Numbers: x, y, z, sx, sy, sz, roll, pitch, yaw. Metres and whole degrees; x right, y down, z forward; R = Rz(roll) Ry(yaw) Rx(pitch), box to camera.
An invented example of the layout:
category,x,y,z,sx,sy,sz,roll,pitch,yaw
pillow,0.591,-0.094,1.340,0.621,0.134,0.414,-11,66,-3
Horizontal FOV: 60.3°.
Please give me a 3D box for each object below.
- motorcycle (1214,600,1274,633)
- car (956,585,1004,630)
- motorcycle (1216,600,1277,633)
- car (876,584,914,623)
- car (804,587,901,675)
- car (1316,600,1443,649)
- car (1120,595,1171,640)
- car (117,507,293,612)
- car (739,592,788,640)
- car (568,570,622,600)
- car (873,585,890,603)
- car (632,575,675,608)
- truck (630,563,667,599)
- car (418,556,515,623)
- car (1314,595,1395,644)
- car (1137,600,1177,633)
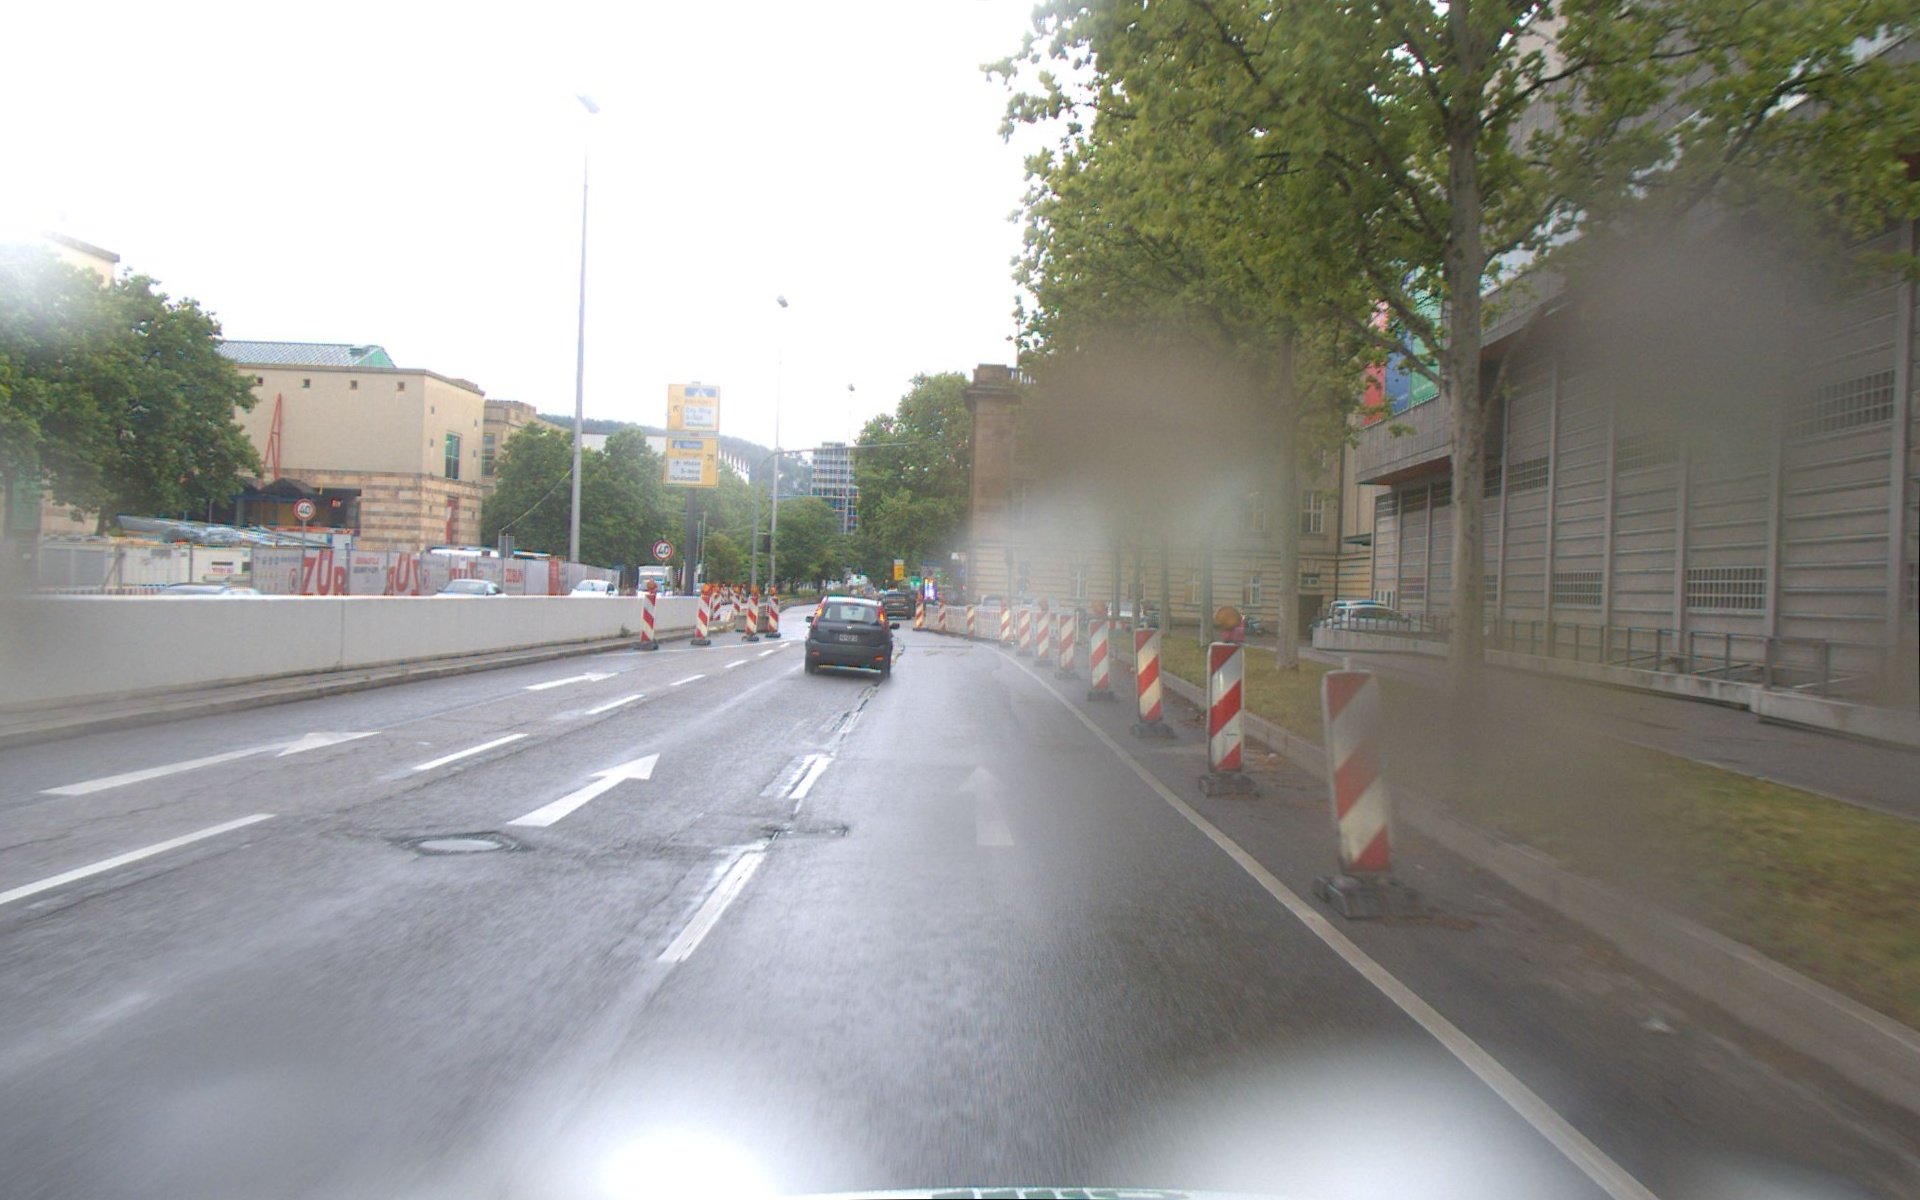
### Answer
category,x,y,z,sx,sy,sz,roll,pitch,yaw
motorcycle,15.611,0.890,90.901,3.095,1.570,0.890,4,-2,4
car,0.850,0.303,72.461,1.953,1.738,4.000,3,1,-1
motorcycle,15.544,0.900,89.874,3.096,1.570,0.890,4,-2,3
car,-3.731,0.194,95.919,1.953,2.048,4.000,3,1,-1
car,-2.124,0.553,32.008,1.638,1.451,3.754,6,0,-5
car,14.427,0.849,57.016,3.905,1.587,1.933,1,-2,0
car,7.974,0.734,71.403,1.952,1.738,4.002,3,1,4
car,-16.498,-0.843,36.388,1.953,2.048,3.999,4,0,-1
car,-6.115,0.497,51.683,1.358,1.411,3.064,1,0,-5
car,-16.007,-0.649,72.691,1.593,1.216,3.404,4,0,-1
car,-10.115,-0.725,213.076,1.955,2.049,3.995,4,-1,-5
car,-16.743,-0.456,90.457,1.635,1.548,3.998,4,-1,-2
truck,-22.901,-1.367,121.762,2.369,2.379,5.431,4,-1,-10
car,-16.458,-0.342,55.378,1.953,2.048,3.999,4,0,-1
car,15.430,0.773,64.973,1.953,1.790,5.096,2,-1,0
car,11.070,0.950,93.142,1.952,1.738,4.002,3,-1,4
